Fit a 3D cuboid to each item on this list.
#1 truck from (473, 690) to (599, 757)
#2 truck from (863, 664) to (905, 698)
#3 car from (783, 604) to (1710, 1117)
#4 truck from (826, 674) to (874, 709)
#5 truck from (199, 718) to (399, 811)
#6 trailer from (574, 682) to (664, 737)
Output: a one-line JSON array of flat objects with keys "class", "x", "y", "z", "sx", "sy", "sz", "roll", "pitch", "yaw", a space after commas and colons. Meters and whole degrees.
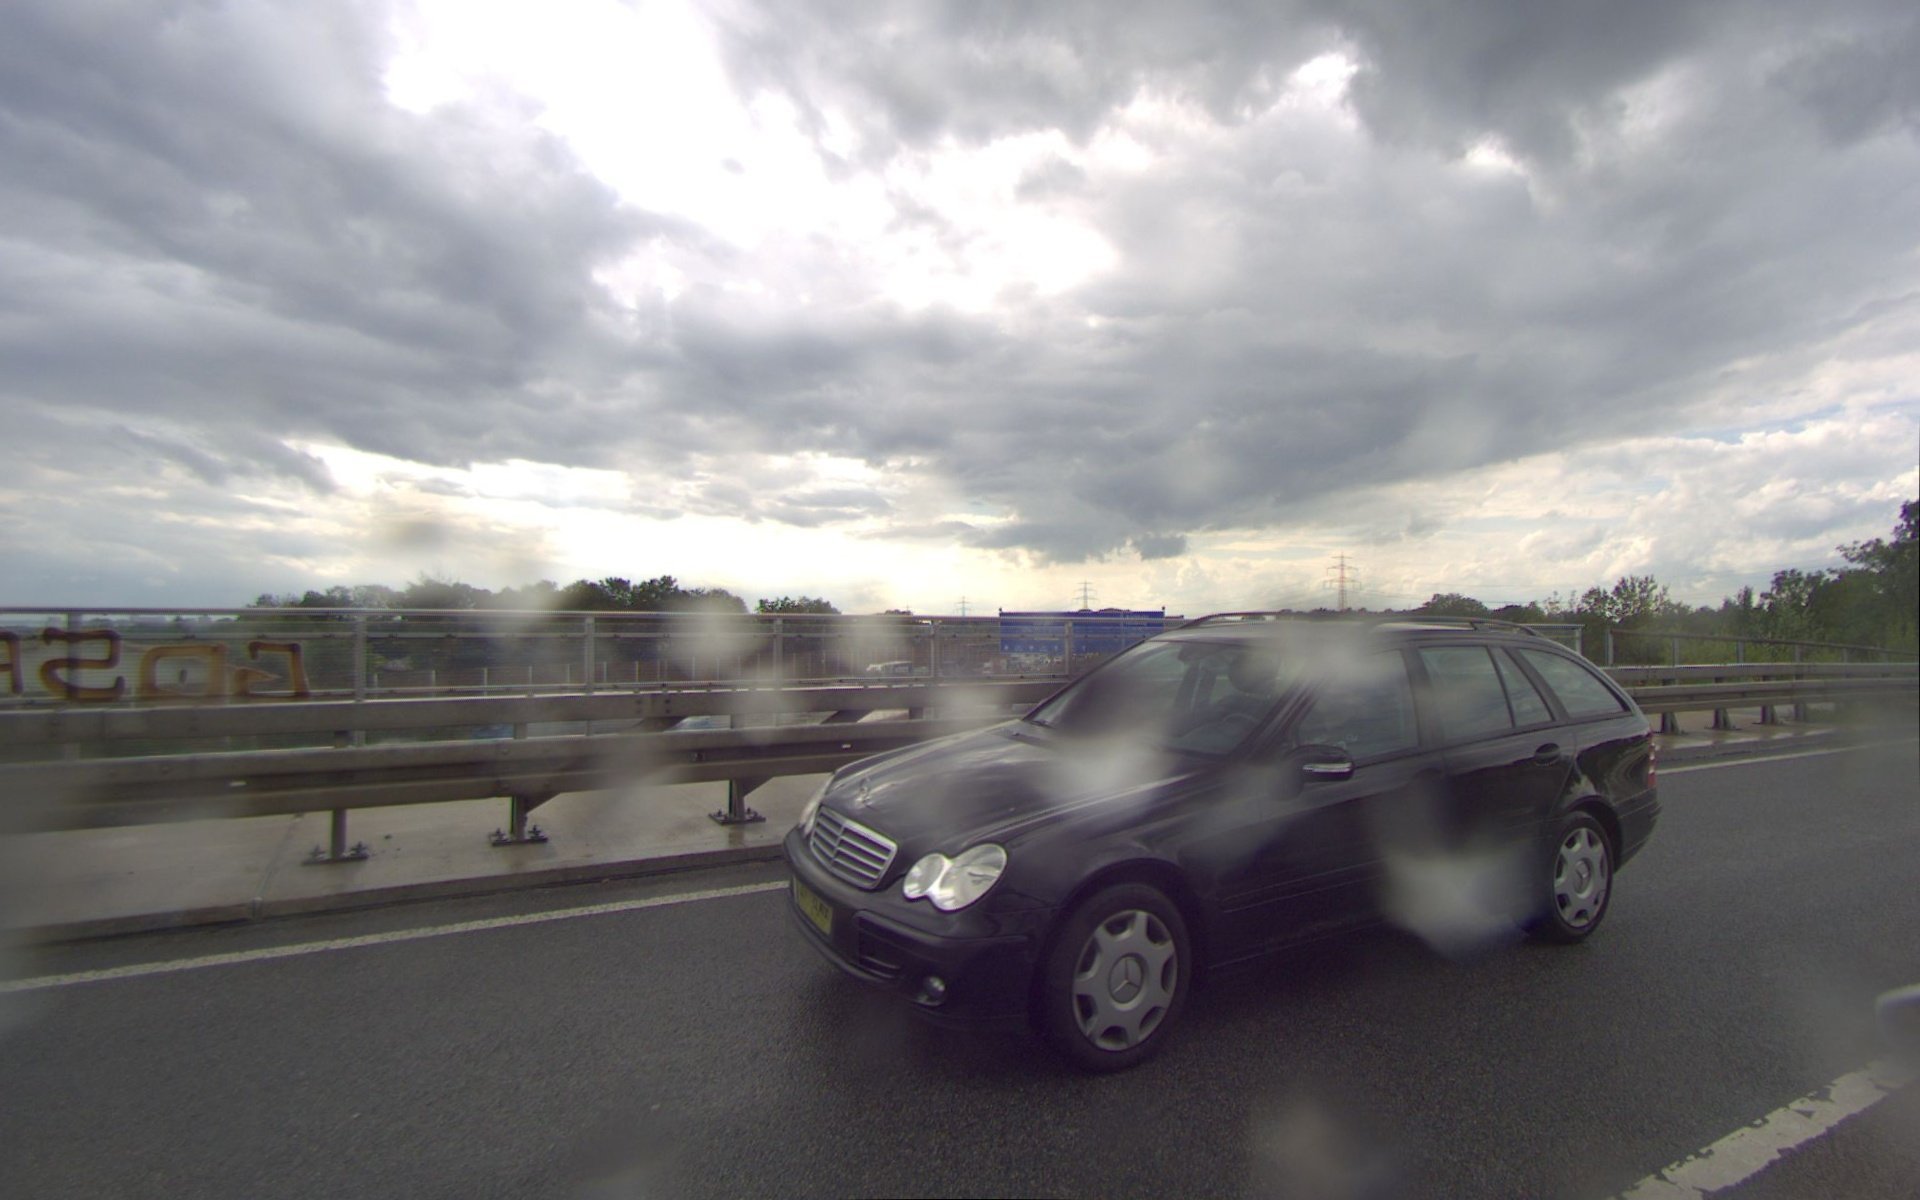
[{"class": "truck", "x": -32.428, "y": 9.339, "z": 77.622, "sx": 2.388, "sy": 3.812, "sz": 11.173, "roll": 1, "pitch": 0, "yaw": 16}, {"class": "truck", "x": -11.463, "y": 12.196, "z": 152.675, "sx": 2.388, "sy": 4.250, "sz": 11.173, "roll": 1, "pitch": 0, "yaw": 16}, {"class": "car", "x": 1.497, "y": 0.782, "z": 4.691, "sx": 4.272, "sy": 1.451, "sz": 1.688, "roll": 1, "pitch": 0, "yaw": -30}, {"class": "truck", "x": -15.089, "y": 12.558, "z": 138.428, "sx": 2.388, "sy": 3.812, "sz": 11.173, "roll": 1, "pitch": 0, "yaw": 16}, {"class": "truck", "x": -39.380, "y": 9.654, "z": 60.594, "sx": 2.388, "sy": 3.812, "sz": 11.173, "roll": 1, "pitch": 0, "yaw": 16}, {"class": "trailer", "x": -29.538, "y": 9.413, "z": 87.491, "sx": 2.388, "sy": 3.812, "sz": 9.461, "roll": 1, "pitch": 0, "yaw": 16}]
